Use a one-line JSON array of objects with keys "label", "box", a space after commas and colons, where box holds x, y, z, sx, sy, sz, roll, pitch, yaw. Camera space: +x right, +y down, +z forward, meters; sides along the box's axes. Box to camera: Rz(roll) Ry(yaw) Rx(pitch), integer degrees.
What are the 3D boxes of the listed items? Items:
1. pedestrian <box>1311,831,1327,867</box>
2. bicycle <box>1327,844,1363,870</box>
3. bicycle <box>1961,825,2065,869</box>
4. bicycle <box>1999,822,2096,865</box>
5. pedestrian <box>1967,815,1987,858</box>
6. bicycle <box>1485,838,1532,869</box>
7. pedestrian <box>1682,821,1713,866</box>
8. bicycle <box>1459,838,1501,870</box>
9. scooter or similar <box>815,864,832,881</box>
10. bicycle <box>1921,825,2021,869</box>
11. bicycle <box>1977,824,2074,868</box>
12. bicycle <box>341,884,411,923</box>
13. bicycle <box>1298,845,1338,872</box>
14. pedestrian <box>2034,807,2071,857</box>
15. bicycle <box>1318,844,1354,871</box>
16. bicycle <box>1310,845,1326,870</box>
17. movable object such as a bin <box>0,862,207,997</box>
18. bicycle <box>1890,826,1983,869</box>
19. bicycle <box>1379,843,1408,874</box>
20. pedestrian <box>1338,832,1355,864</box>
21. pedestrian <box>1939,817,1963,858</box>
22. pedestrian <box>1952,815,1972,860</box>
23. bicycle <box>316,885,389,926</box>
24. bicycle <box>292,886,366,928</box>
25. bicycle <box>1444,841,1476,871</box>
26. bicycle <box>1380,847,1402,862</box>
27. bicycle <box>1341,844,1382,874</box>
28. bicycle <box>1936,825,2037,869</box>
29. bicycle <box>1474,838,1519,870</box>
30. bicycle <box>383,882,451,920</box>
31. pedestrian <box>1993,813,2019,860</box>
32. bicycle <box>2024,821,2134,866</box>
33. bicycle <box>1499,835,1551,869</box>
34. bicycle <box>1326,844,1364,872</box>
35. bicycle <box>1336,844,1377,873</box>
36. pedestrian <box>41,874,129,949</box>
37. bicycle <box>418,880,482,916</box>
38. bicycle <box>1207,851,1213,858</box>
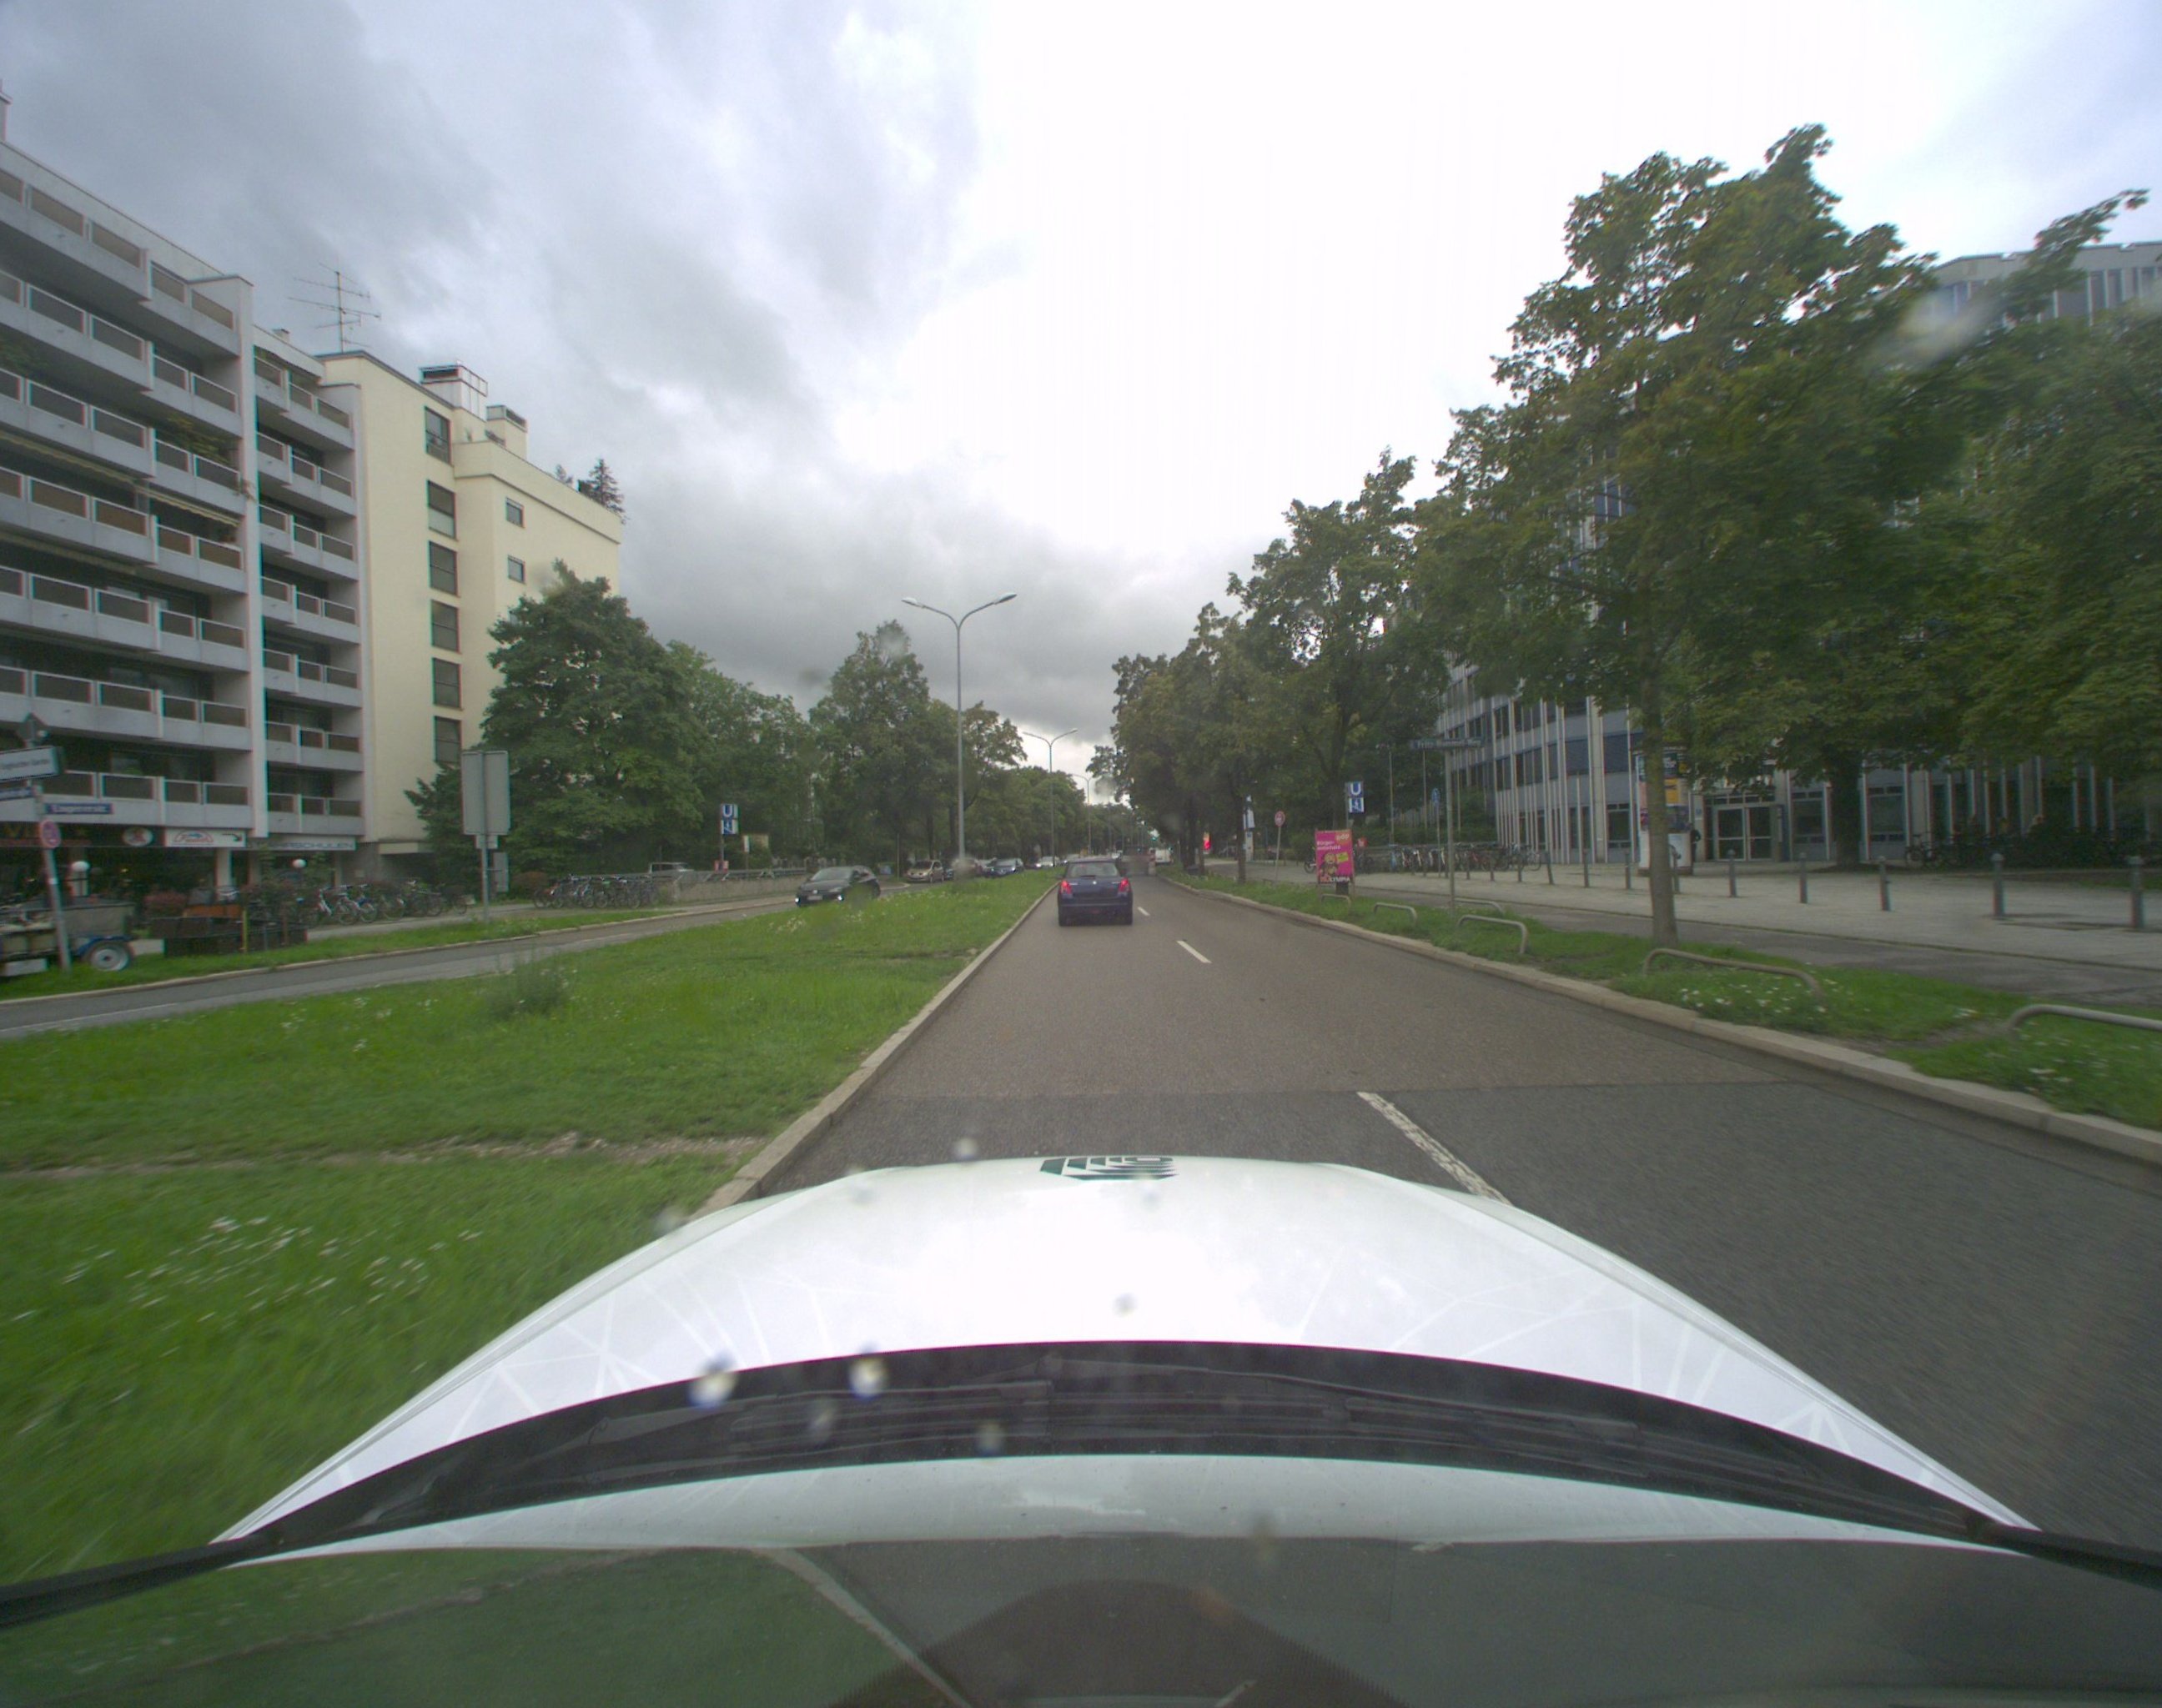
[{"label": "pedestrian", "box": [13.077, -0.277, 44.729, 0.645, 1.899, 0.753, -2, 0, 22]}, {"label": "bicycle", "box": [12.316, 0.132, 37.982, 1.964, 1.083, 0.590, -5, 2, -39]}, {"label": "bicycle", "box": [28.301, -0.206, 24.791, 0.507, 1.260, 2.172, -2, 0, -4]}, {"label": "bicycle", "box": [29.617, -0.313, 25.006, 0.507, 1.260, 1.951, -2, 0, -4]}, {"label": "pedestrian", "box": [31.471, -0.603, 28.606, 0.347, 1.491, 0.345, -2, 0, -29]}, {"label": "bicycle", "box": [17.093, -0.017, 32.609, 0.576, 1.189, 2.138, -2, 0, -4]}, {"label": "pedestrian", "box": [24.575, -0.419, 32.473, 0.681, 1.772, 0.773, -2, 0, 16]}, {"label": "bicycle", "box": [15.880, 0.001, 32.449, 0.445, 1.189, 2.138, -2, 0, -4]}, {"label": "scooter or similar", "box": [-18.508, 1.317, 58.452, 0.431, 1.127, 1.296, -2, 0, 19]}, {"label": "bicycle", "box": [26.911, -0.205, 24.691, 0.507, 1.260, 2.172, -2, 0, -4]}, {"label": "bicycle", "box": [28.901, -0.241, 24.967, 0.507, 1.260, 2.019, -2, 0, -4]}, {"label": "bicycle", "box": [-21.997, 1.538, 25.400, 1.936, 1.103, 0.490, 2, 1, 9]}, {"label": "bicycle", "box": [11.582, 0.218, 39.831, 1.960, 1.189, 0.591, -5, 1, -28]}, {"label": "pedestrian", "box": [33.117, -0.748, 27.763, 0.584, 1.658, 0.629, -2, 0, 29]}, {"label": "bicycle", "box": [12.268, 0.152, 39.155, 1.965, 1.108, 0.574, -7, 3, -39]}, {"label": "bicycle", "box": [12.402, 0.176, 42.686, 0.527, 1.226, 1.867, -4, 1, 10]}, {"label": "movable object such as a bin", "box": [-16.991, 1.170, 12.756, 2.186, 1.953, 4.000, -2, 0, 0]}, {"label": "bicycle", "box": [26.260, -0.190, 25.051, 0.605, 1.260, 2.054, -2, 0, -2]}, {"label": "bicycle", "box": [12.680, 0.166, 33.077, 0.485, 1.189, 1.956, -2, 0, 3]}, {"label": "pedestrian", "box": [14.647, -0.321, 44.958, 0.777, 1.714, 0.753, -2, 0, 16]}, {"label": "pedestrian", "box": [31.603, -0.596, 29.587, 0.381, 1.491, 0.395, -2, 0, 13]}, {"label": "pedestrian", "box": [31.367, -0.594, 28.984, 0.306, 1.572, 0.355, -2, 0, 19]}, {"label": "bicycle", "box": [-22.108, 1.550, 24.719, 1.936, 1.103, 0.490, 2, 1, 9]}, {"label": "bicycle", "box": [-22.244, 1.563, 24.105, 1.936, 1.103, 0.490, 2, 1, 9]}, {"label": "bicycle", "box": [15.215, 0.074, 32.743, 0.443, 1.189, 1.956, -2, 0, 3]}, {"label": "bicycle", "box": [19.299, 0.050, 50.750, 0.680, 0.853, 1.835, -2, 1, 2]}, {"label": "bicycle", "box": [11.733, 0.208, 34.018, 2.043, 1.099, 0.573, -4, -1, -40]}, {"label": "bicycle", "box": [27.484, -0.204, 24.786, 0.507, 1.260, 2.172, -2, 0, -4]}, {"label": "bicycle", "box": [16.429, -0.007, 32.235, 0.510, 1.189, 2.138, -2, 0, -4]}, {"label": "bicycle", "box": [-21.770, 1.538, 26.715, 1.936, 1.103, 0.561, 2, 1, 9]}, {"label": "pedestrian", "box": [31.207, -0.591, 27.481, 0.346, 1.572, 0.409, -2, 0, 4]}, {"label": "bicycle", "box": [30.222, -0.303, 24.717, 0.551, 1.260, 2.172, -2, 0, -4]}, {"label": "bicycle", "box": [17.848, -0.070, 32.803, 0.507, 1.294, 2.474, -2, 0, -4]}, {"label": "bicycle", "box": [11.872, 0.177, 36.556, 1.964, 1.066, 0.573, -5, 0, -39]}, {"label": "bicycle", "box": [12.063, 0.187, 35.587, 2.051, 1.089, 0.598, -4, -2, -39]}, {"label": "pedestrian", "box": [-24.064, 1.358, 19.702, 0.666, 1.708, 1.131, -2, 0, 0]}, {"label": "bicycle", "box": [-21.557, 1.494, 27.827, 1.936, 1.103, 0.490, 2, 1, 9]}, {"label": "bicycle", "box": [23.129, 0.061, 146.019, 0.744, 1.183, 2.250, -2, 0, 6]}]
